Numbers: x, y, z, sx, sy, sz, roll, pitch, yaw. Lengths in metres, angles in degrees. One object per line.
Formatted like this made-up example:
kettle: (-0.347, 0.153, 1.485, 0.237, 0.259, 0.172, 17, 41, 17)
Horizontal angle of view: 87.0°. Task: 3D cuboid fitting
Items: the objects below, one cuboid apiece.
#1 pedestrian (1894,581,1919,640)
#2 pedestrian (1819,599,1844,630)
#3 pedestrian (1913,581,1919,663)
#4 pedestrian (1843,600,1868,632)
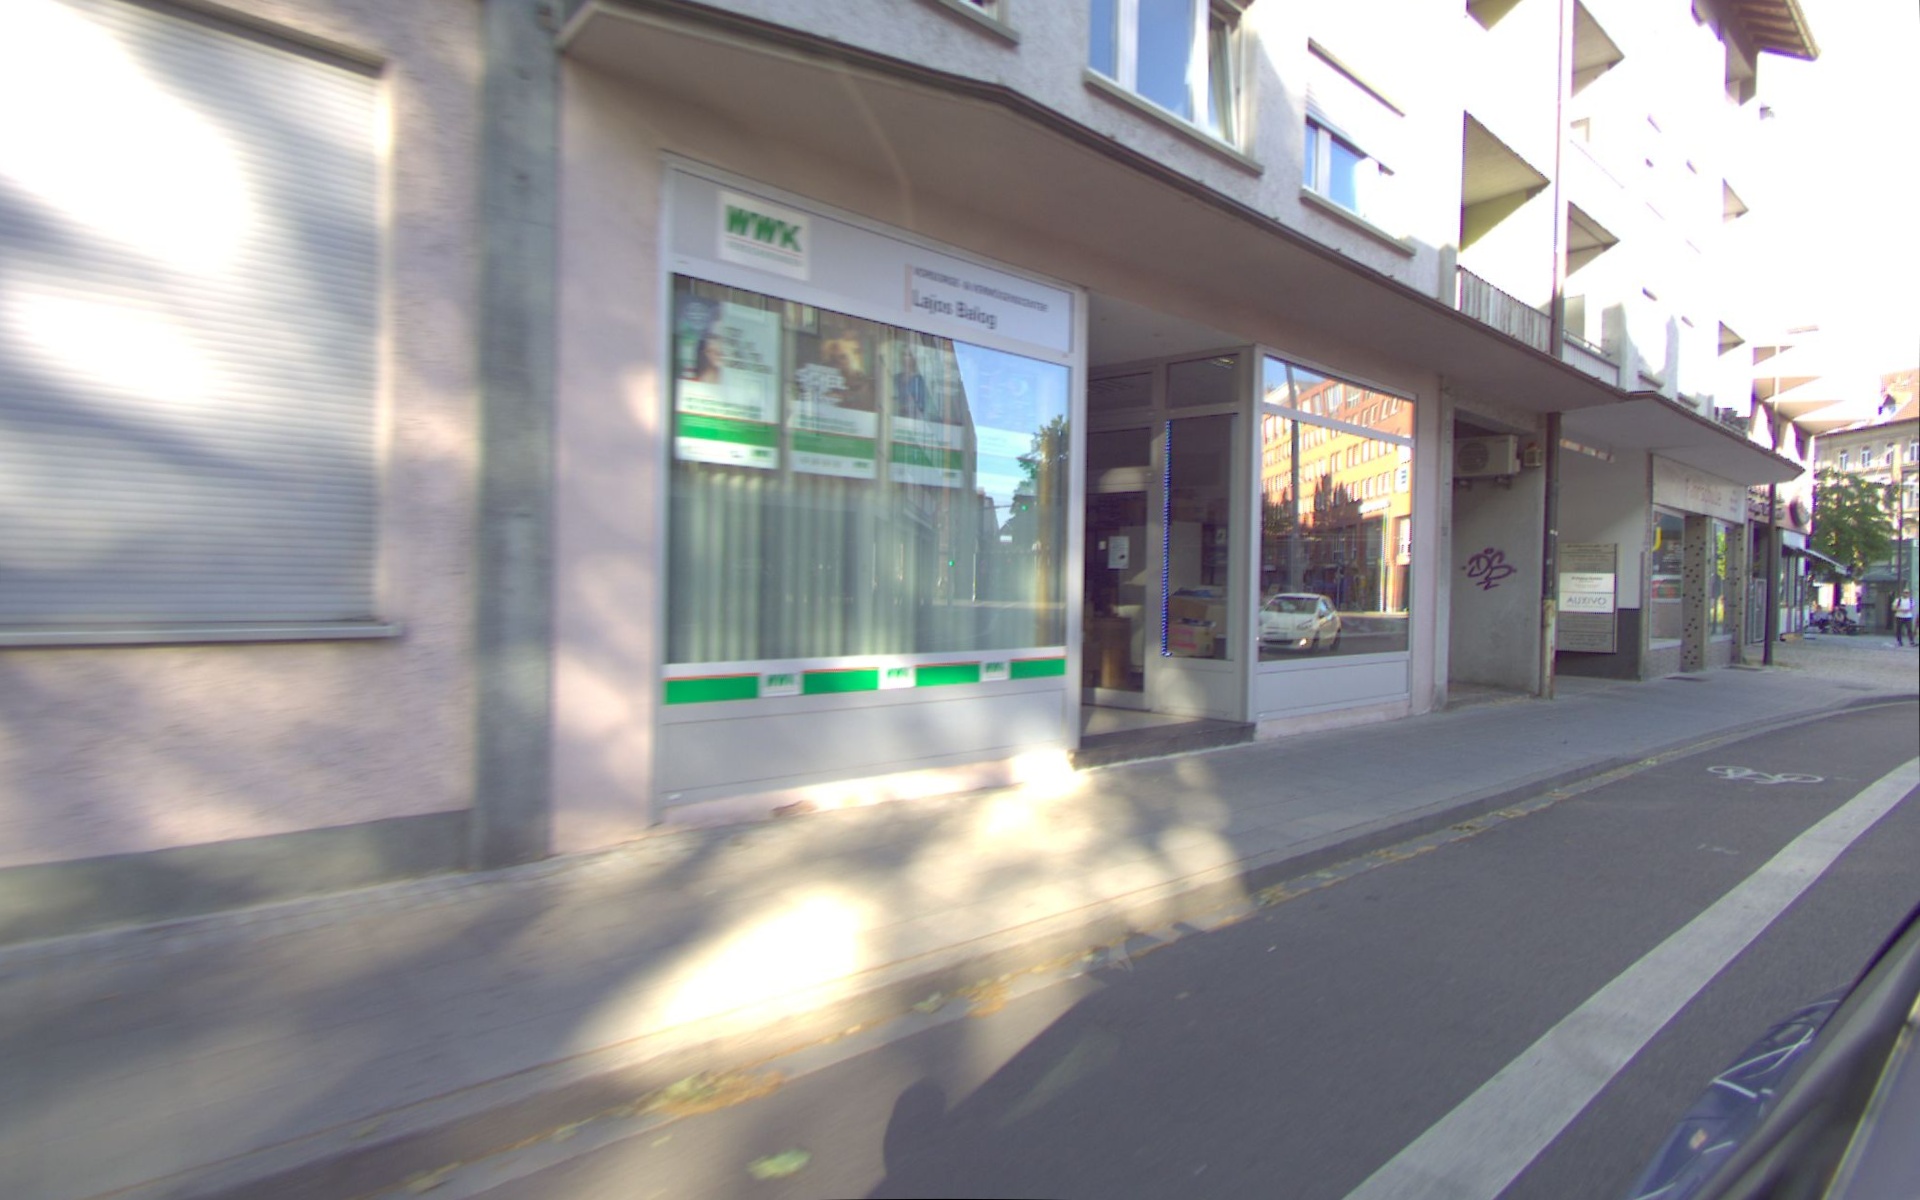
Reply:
pedestrian: (30.563, 0.343, 32.298, 0.695, 1.841, 0.706, 3, 3, 6)
pedestrian: (36.947, 0.605, 42.927, 0.705, 1.257, 0.755, 5, 4, 40)
pedestrian: (22.056, 0.519, 22.715, 0.693, 1.841, 0.709, 1, 3, -30)
pedestrian: (37.530, 0.652, 42.430, 0.705, 1.247, 0.760, 5, 4, 40)
